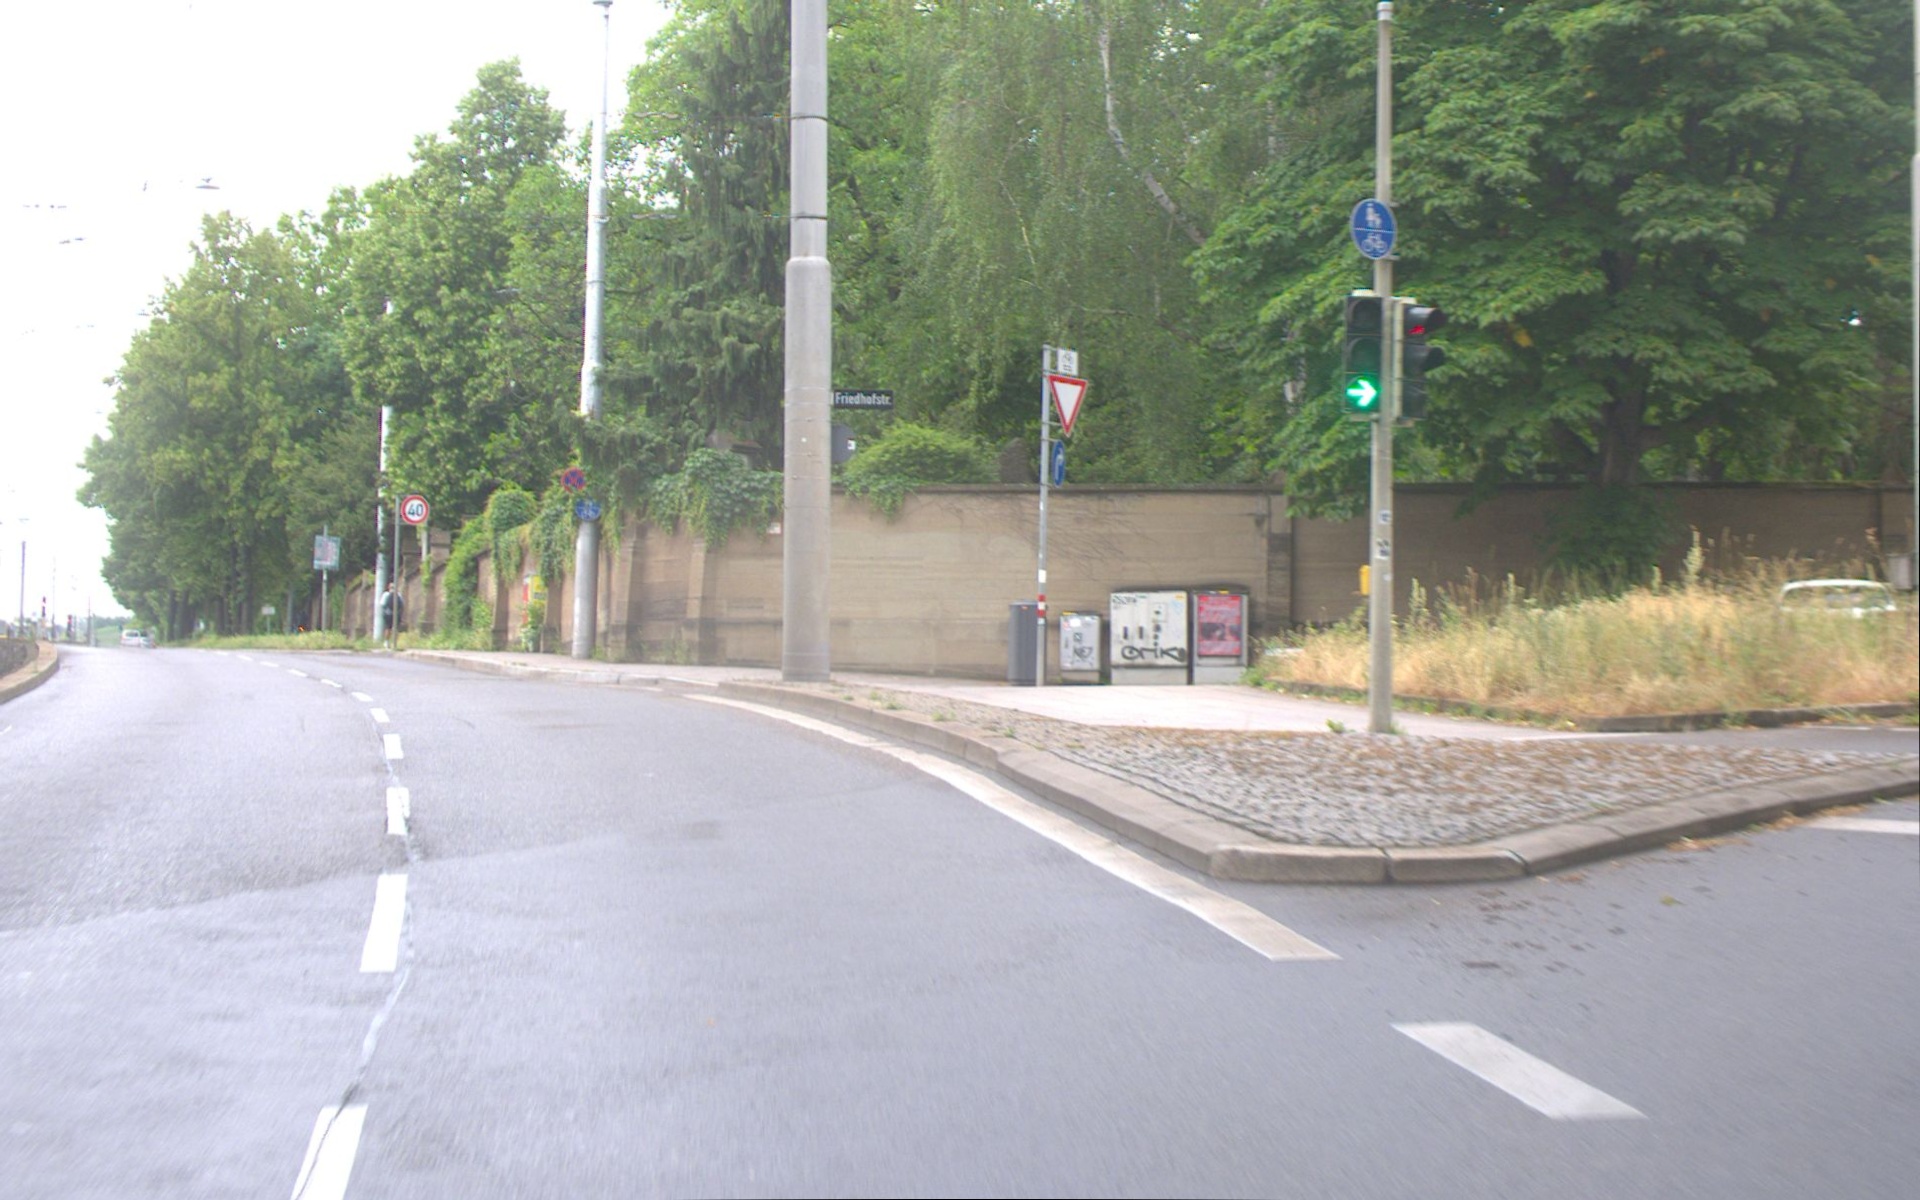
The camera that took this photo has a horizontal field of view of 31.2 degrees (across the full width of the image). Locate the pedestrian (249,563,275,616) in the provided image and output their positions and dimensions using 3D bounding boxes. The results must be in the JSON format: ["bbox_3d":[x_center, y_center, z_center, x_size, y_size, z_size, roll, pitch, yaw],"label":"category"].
[{"bbox_3d":[-22.702,-0.330,111.801,0.719,1.681,0.729,3,-1,-14],"label":"pedestrian"}]

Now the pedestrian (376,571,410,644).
[{"bbox_3d":[-14.722,0.204,89.306,0.719,1.844,0.783,3,-1,-14],"label":"pedestrian"}]

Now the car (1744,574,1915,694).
[{"bbox_3d":[10.567,0.445,41.994,1.754,1.401,3.998,0,-1,10],"label":"car"}]
